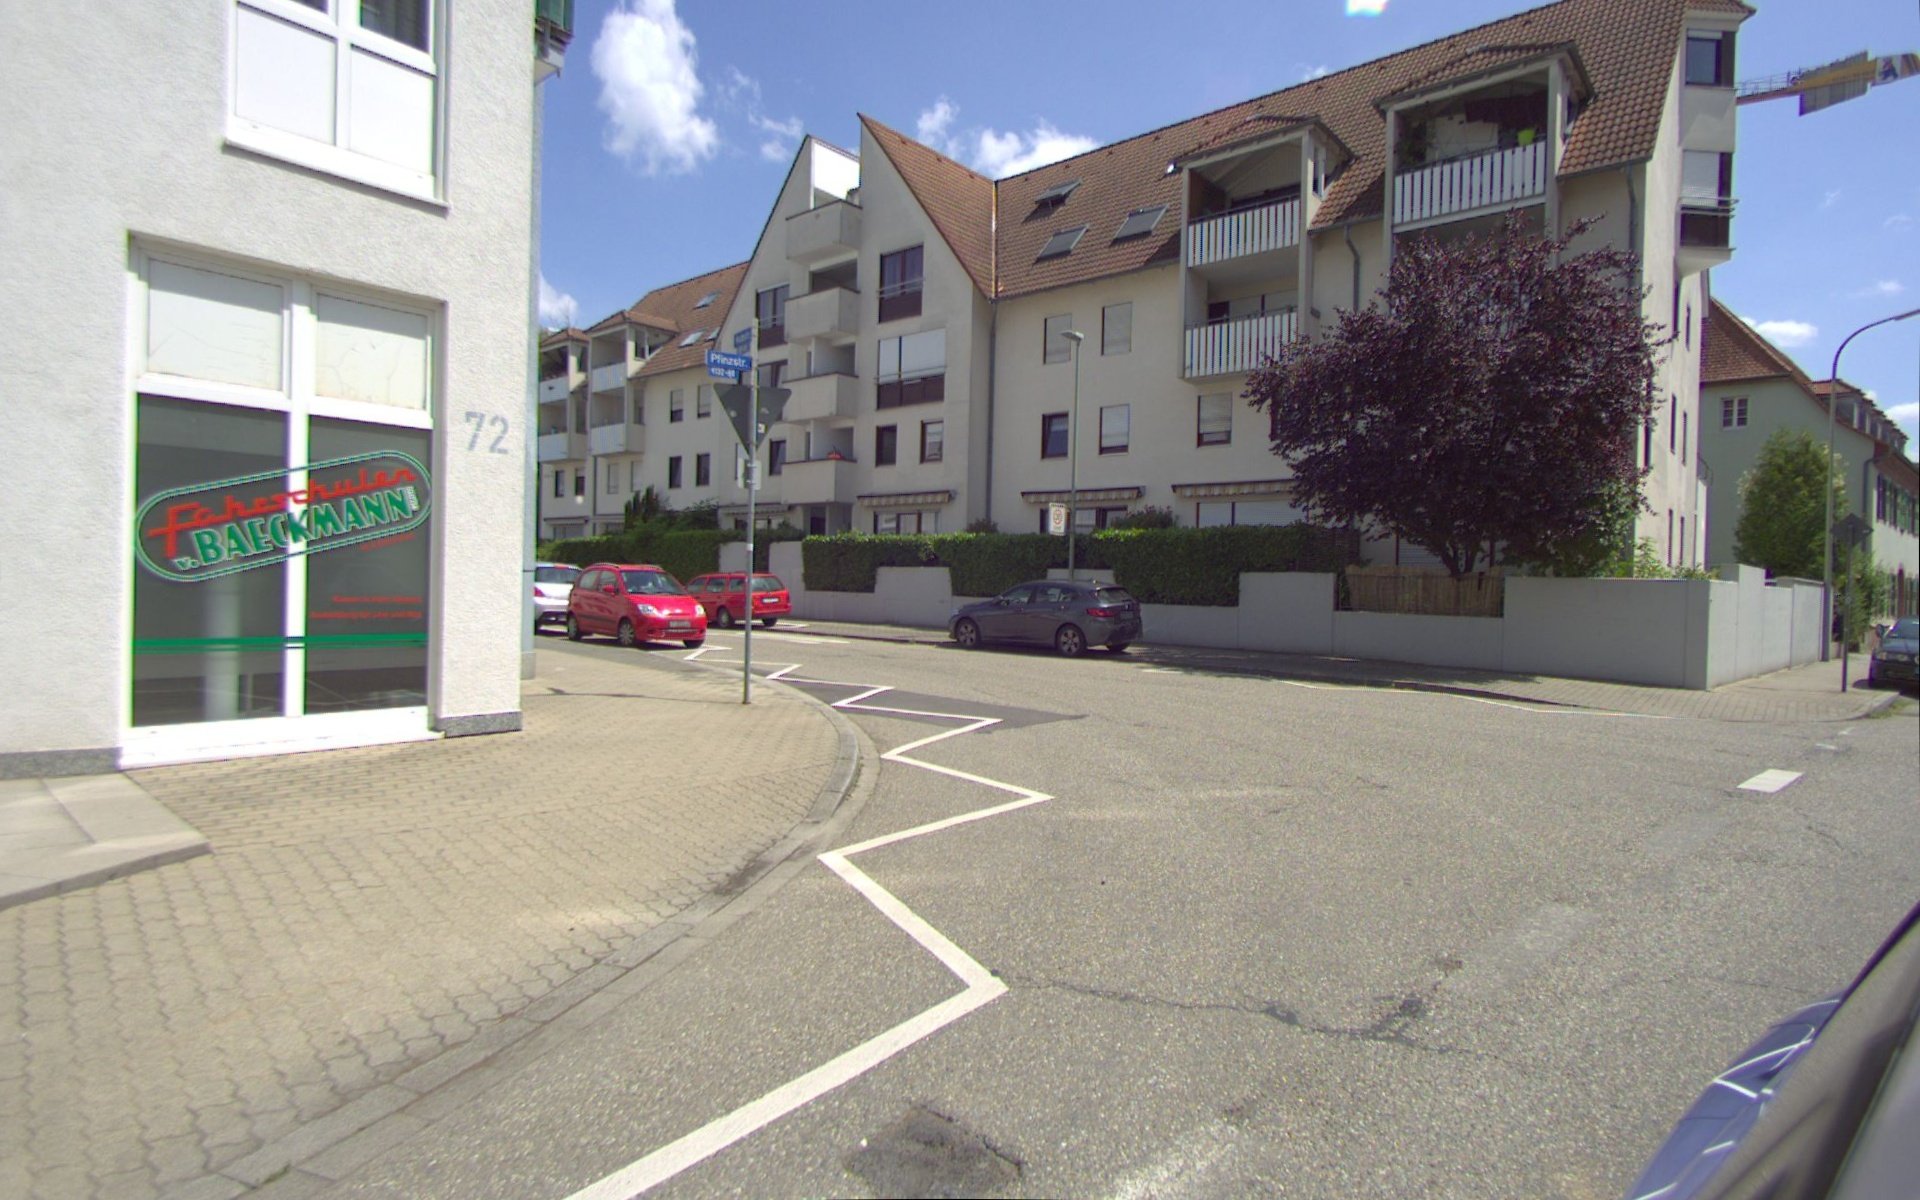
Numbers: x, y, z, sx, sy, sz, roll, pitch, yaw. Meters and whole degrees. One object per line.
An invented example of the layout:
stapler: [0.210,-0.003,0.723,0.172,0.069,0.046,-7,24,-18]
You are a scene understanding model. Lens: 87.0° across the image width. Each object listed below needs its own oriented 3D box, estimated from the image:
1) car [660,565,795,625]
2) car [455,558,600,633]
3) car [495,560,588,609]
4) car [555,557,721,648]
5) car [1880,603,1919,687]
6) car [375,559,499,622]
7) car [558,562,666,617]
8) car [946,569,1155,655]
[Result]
car: [-6.317,-0.166,27.291,3.769,1.485,1.630,2,1,40]
car: [-9.395,-0.141,21.865,3.774,1.485,1.511,2,1,44]
car: [-14.375,-0.558,34.715,3.772,1.577,1.512,2,1,43]
car: [-6.163,-0.002,19.212,1.570,1.560,3.508,0,1,-45]
car: [17.870,0.783,18.233,4.169,1.393,1.658,0,1,-45]
car: [-13.233,-0.274,25.519,3.774,1.485,1.628,2,1,44]
car: [-10.694,-0.360,30.998,3.772,1.577,1.512,2,1,43]
car: [1.768,0.163,20.492,3.986,1.486,1.711,3,3,42]
